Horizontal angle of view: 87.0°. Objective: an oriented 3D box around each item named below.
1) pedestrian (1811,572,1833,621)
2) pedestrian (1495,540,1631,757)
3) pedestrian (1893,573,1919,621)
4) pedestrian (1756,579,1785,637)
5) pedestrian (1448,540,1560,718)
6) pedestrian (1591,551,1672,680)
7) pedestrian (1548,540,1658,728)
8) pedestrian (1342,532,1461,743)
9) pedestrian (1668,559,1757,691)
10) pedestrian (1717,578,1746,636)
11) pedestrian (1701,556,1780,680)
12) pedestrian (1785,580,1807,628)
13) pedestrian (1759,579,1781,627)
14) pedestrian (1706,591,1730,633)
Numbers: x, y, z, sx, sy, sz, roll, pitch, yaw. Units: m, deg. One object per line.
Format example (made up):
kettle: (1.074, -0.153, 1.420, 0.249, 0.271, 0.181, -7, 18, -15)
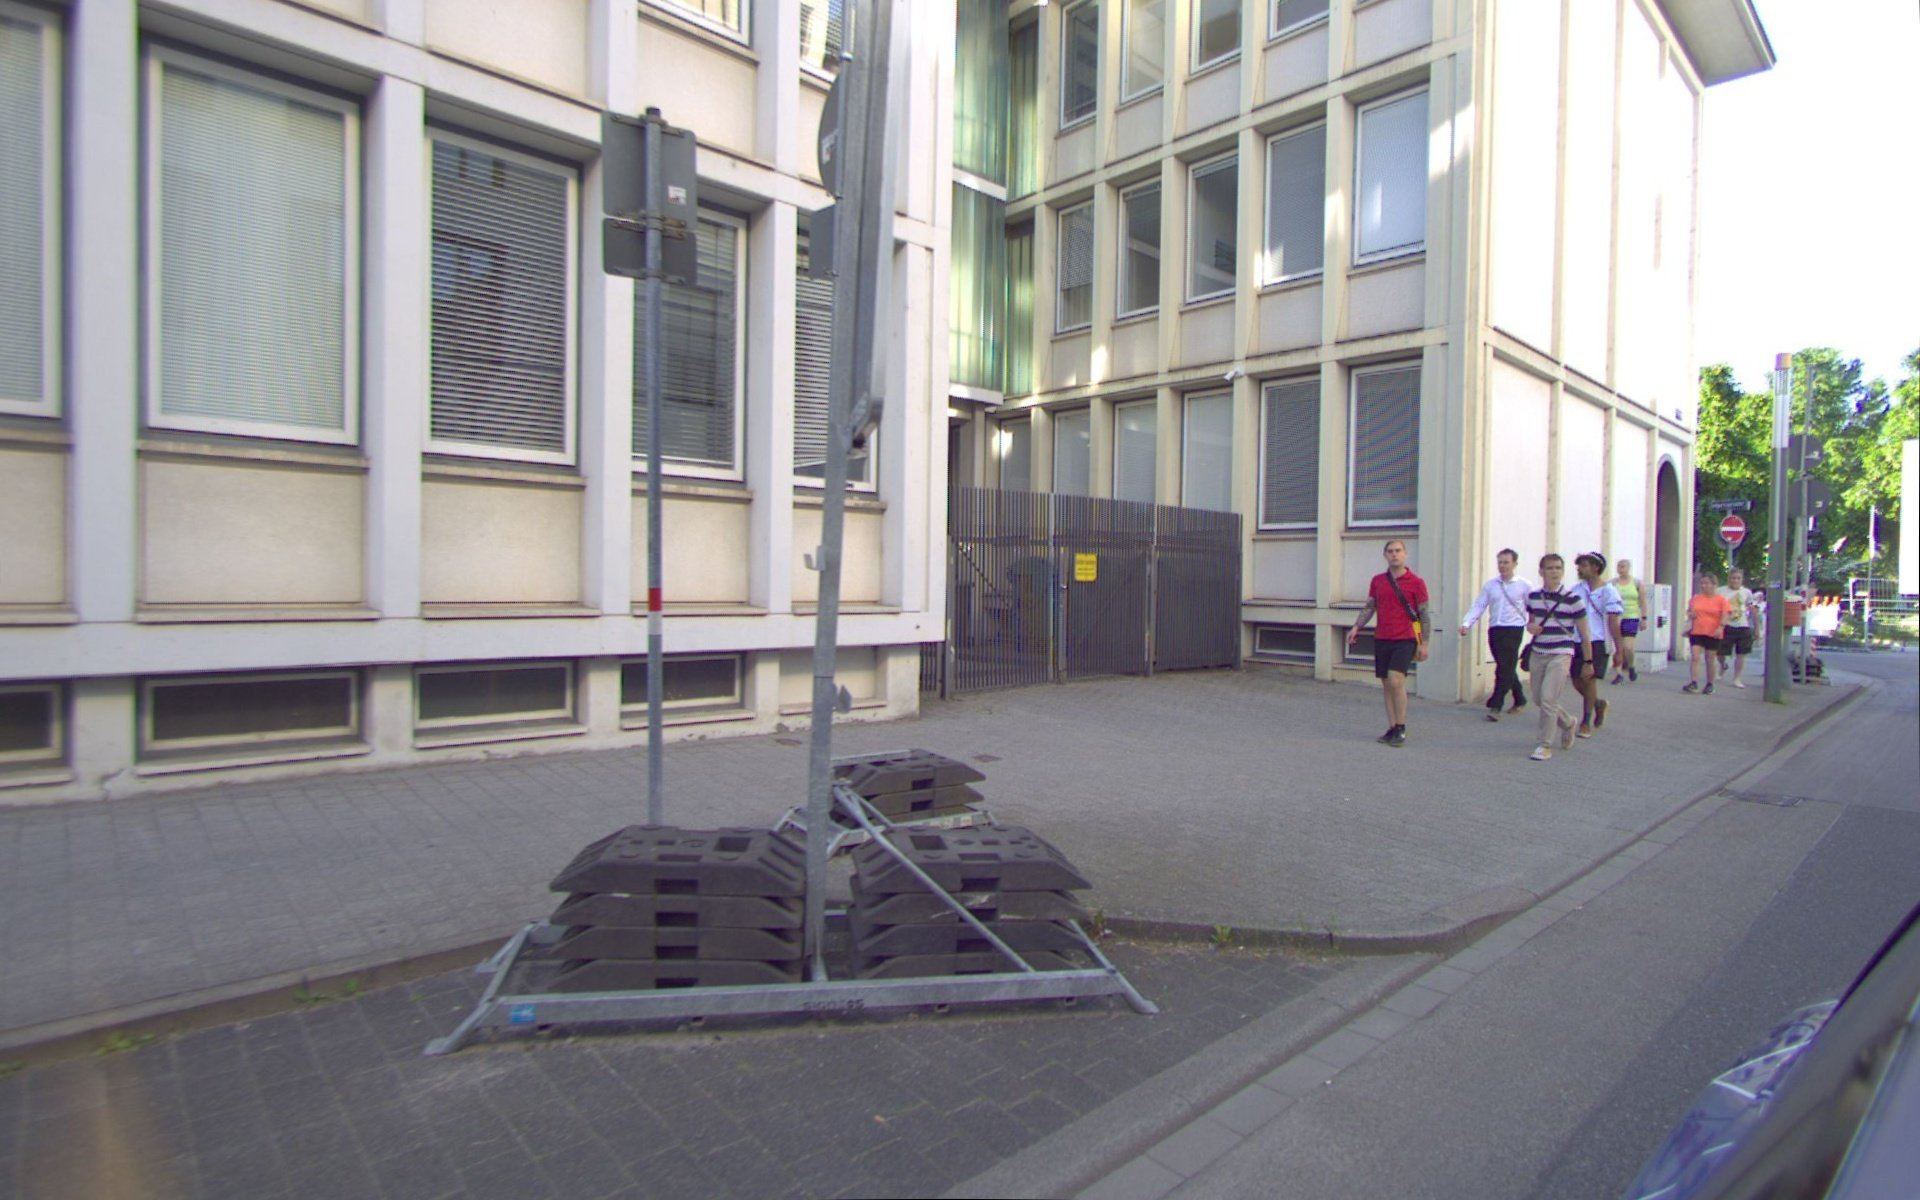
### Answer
pedestrian: (31.973, -0.135, 37.541, 0.624, 1.805, 0.614, 0, 1, 42)
pedestrian: (5.382, 0.401, 9.040, 0.681, 1.799, 0.685, 0, 6, -41)
pedestrian: (35.734, -0.120, 38.138, 0.617, 1.805, 0.621, 0, 1, 13)
pedestrian: (23.518, 0.223, 29.351, 0.624, 1.634, 0.614, 0, 1, 42)
pedestrian: (5.861, 0.288, 10.908, 0.681, 1.799, 0.685, 0, 6, -41)
pedestrian: (9.471, 0.197, 14.277, 0.681, 1.736, 0.684, 0, 4, -41)
pedestrian: (6.466, 0.312, 10.185, 0.681, 1.800, 0.684, 0, 3, -41)
pedestrian: (3.991, 0.307, 9.164, 0.583, 1.800, 0.685, 0, 4, -41)
pedestrian: (10.030, 0.308, 13.496, 0.681, 1.655, 0.685, 0, 5, -41)
pedestrian: (22.196, 0.188, 29.118, 0.624, 1.662, 0.614, 0, 1, 42)
pedestrian: (11.373, 0.243, 14.750, 0.681, 1.736, 0.684, 0, 3, -41)
pedestrian: (31.600, 0.145, 38.248, 0.624, 1.805, 0.614, 0, 1, 42)
pedestrian: (31.066, 0.105, 38.793, 0.624, 1.805, 0.614, 0, 1, 42)
pedestrian: (22.473, 0.349, 30.005, 0.533, 1.191, 0.614, 0, 1, 42)
